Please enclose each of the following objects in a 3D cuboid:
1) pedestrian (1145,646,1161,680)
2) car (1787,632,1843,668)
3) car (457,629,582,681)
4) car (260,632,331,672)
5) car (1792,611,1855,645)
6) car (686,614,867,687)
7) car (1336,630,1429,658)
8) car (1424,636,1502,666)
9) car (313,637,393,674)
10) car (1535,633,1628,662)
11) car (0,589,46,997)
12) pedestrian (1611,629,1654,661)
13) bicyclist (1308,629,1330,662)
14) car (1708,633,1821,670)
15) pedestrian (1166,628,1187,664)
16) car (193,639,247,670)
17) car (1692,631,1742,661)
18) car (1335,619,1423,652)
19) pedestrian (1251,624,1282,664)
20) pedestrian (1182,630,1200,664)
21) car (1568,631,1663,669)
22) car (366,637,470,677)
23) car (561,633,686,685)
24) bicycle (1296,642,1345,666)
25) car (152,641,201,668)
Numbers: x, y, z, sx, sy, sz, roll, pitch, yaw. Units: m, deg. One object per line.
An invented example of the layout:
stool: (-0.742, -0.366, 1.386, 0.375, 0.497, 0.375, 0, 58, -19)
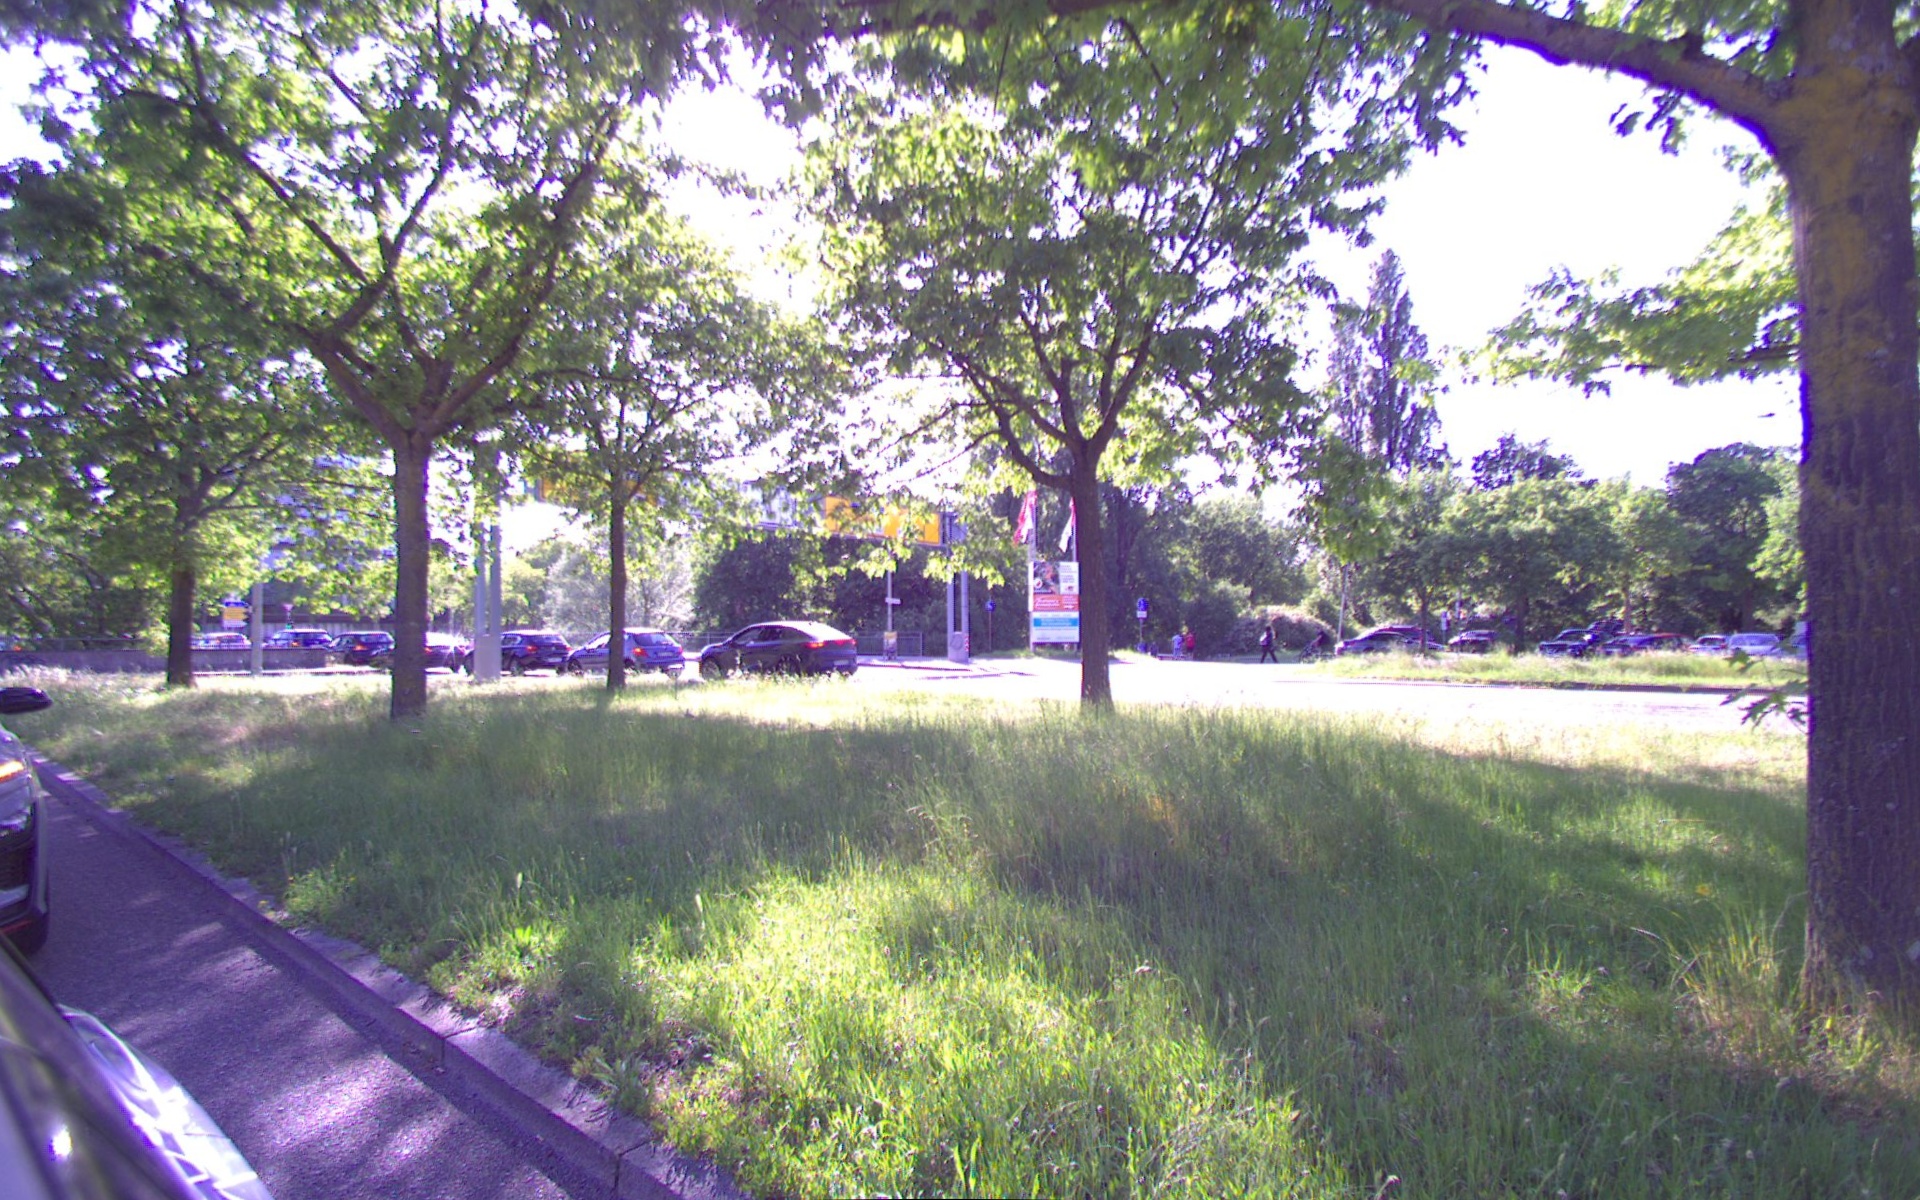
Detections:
pedestrian: (12.190, 3.984, 64.022, 0.847, 2.060, 0.863, -1, 0, 1)
car: (35.611, 2.066, 42.221, 1.617, 1.430, 3.038, -2, -2, 38)
car: (-14.168, 1.731, 32.455, 4.215, 1.562, 1.853, -2, -2, 37)
car: (-28.118, 2.205, 42.827, 3.195, 1.571, 1.433, -4, -3, 34)
car: (43.886, 1.416, 51.399, 3.694, 1.681, 1.895, 1, -2, -41)
car: (-4.569, 1.212, 24.923, 4.450, 1.660, 1.810, -2, -2, 36)
car: (21.128, 2.203, 50.758, 3.957, 1.385, 1.826, -1, -2, 11)
car: (31.513, 3.195, 63.496, 3.961, 1.807, 1.991, -1, -2, 14)
car: (-23.418, 2.125, 39.029, 3.195, 1.349, 1.464, -3, -2, 35)
car: (23.352, 1.775, 38.119, 2.774, 1.072, 1.324, -1, -2, 23)
car: (-5.627, 0.767, 4.598, 3.986, 1.544, 1.730, -2, -2, 41)
pedestrian: (27.226, 1.808, 40.988, 1.097, 1.285, 1.144, -1, -2, 14)
bicyclist: (16.457, 2.084, 46.440, 0.839, 1.500, 0.678, -1, -2, 13)
car: (26.885, 1.698, 33.912, 2.783, 1.165, 1.327, -1, -2, 32)
pedestrian: (11.862, 2.513, 55.497, 0.845, 1.881, 0.904, -1, 0, -8)
car: (-35.059, 2.587, 47.921, 2.875, 1.350, 1.214, -5, -4, 34)
car: (32.969, 1.985, 44.115, 1.616, 1.187, 3.040, -2, -2, 35)
car: (22.418, 1.898, 54.289, 3.959, 1.678, 1.992, -1, -2, 13)
pedestrian: (12.536, 1.796, 41.437, 0.985, 1.642, 0.904, -2, -2, 33)
pedestrian: (12.554, 2.554, 54.976, 0.742, 1.802, 0.905, -1, 0, 2)
car: (23.532, 1.786, 36.436, 2.783, 1.315, 1.327, -2, -2, 32)
car: (-19.226, 1.988, 35.858, 4.058, 1.323, 1.604, -2, -2, 35)
car: (-9.593, 1.647, 28.790, 3.601, 1.374, 1.543, -2, -2, 35)
bicycle: (16.520, 2.488, 46.386, 2.016, 1.060, 0.684, -1, -2, 13)
car: (-39.998, 2.781, 51.662, 2.761, 1.270, 1.186, -4, -3, 35)
